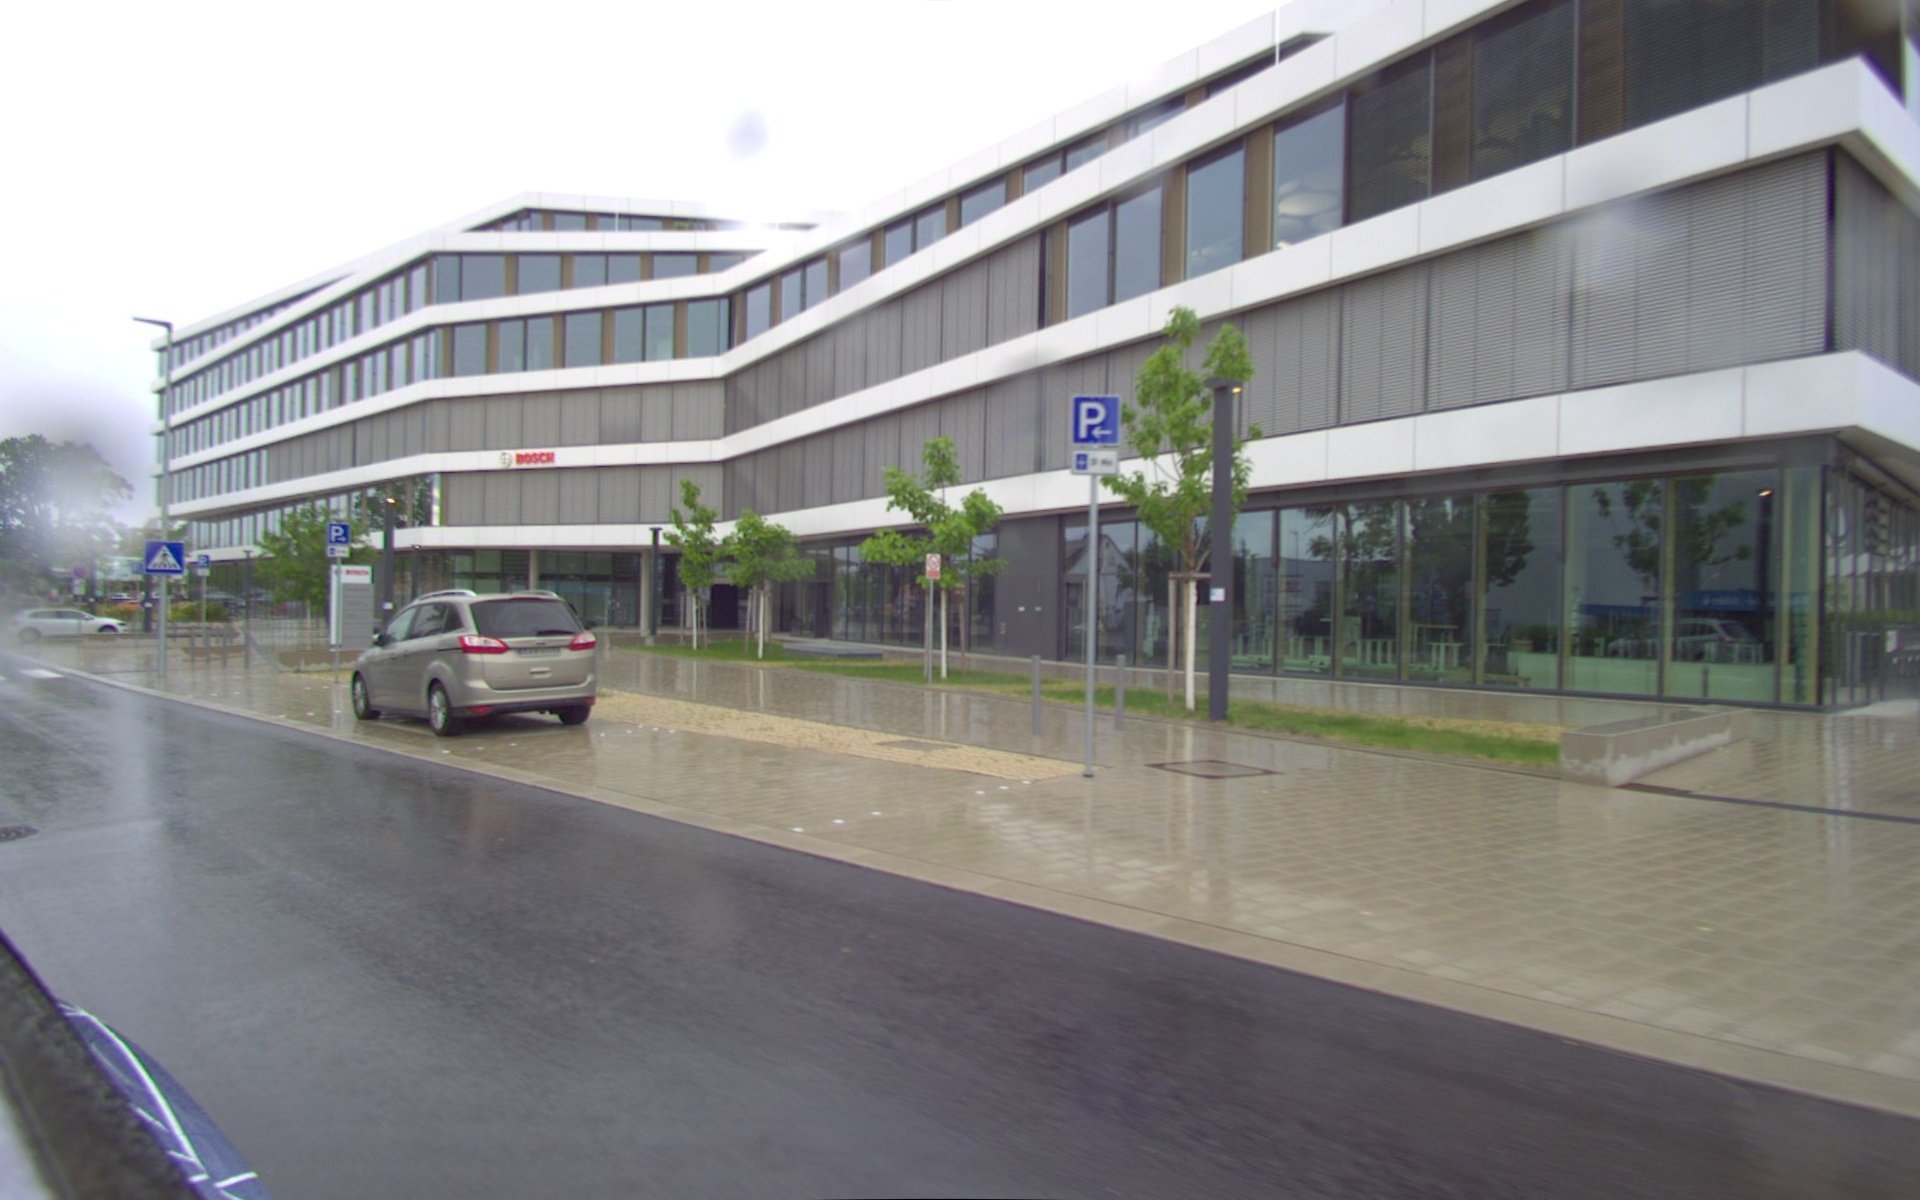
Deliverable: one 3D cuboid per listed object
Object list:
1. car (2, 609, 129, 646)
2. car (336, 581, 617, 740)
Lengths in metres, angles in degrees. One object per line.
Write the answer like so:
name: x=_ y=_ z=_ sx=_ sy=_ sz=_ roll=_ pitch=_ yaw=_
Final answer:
car: x=-39.273 y=1.154 z=44.486 sx=4.109 sy=1.430 sz=2.001 roll=-2 pitch=1 yaw=-44
car: x=-6.347 y=0.682 z=13.058 sx=4.323 sy=1.719 sz=1.817 roll=-1 pitch=-1 yaw=43
